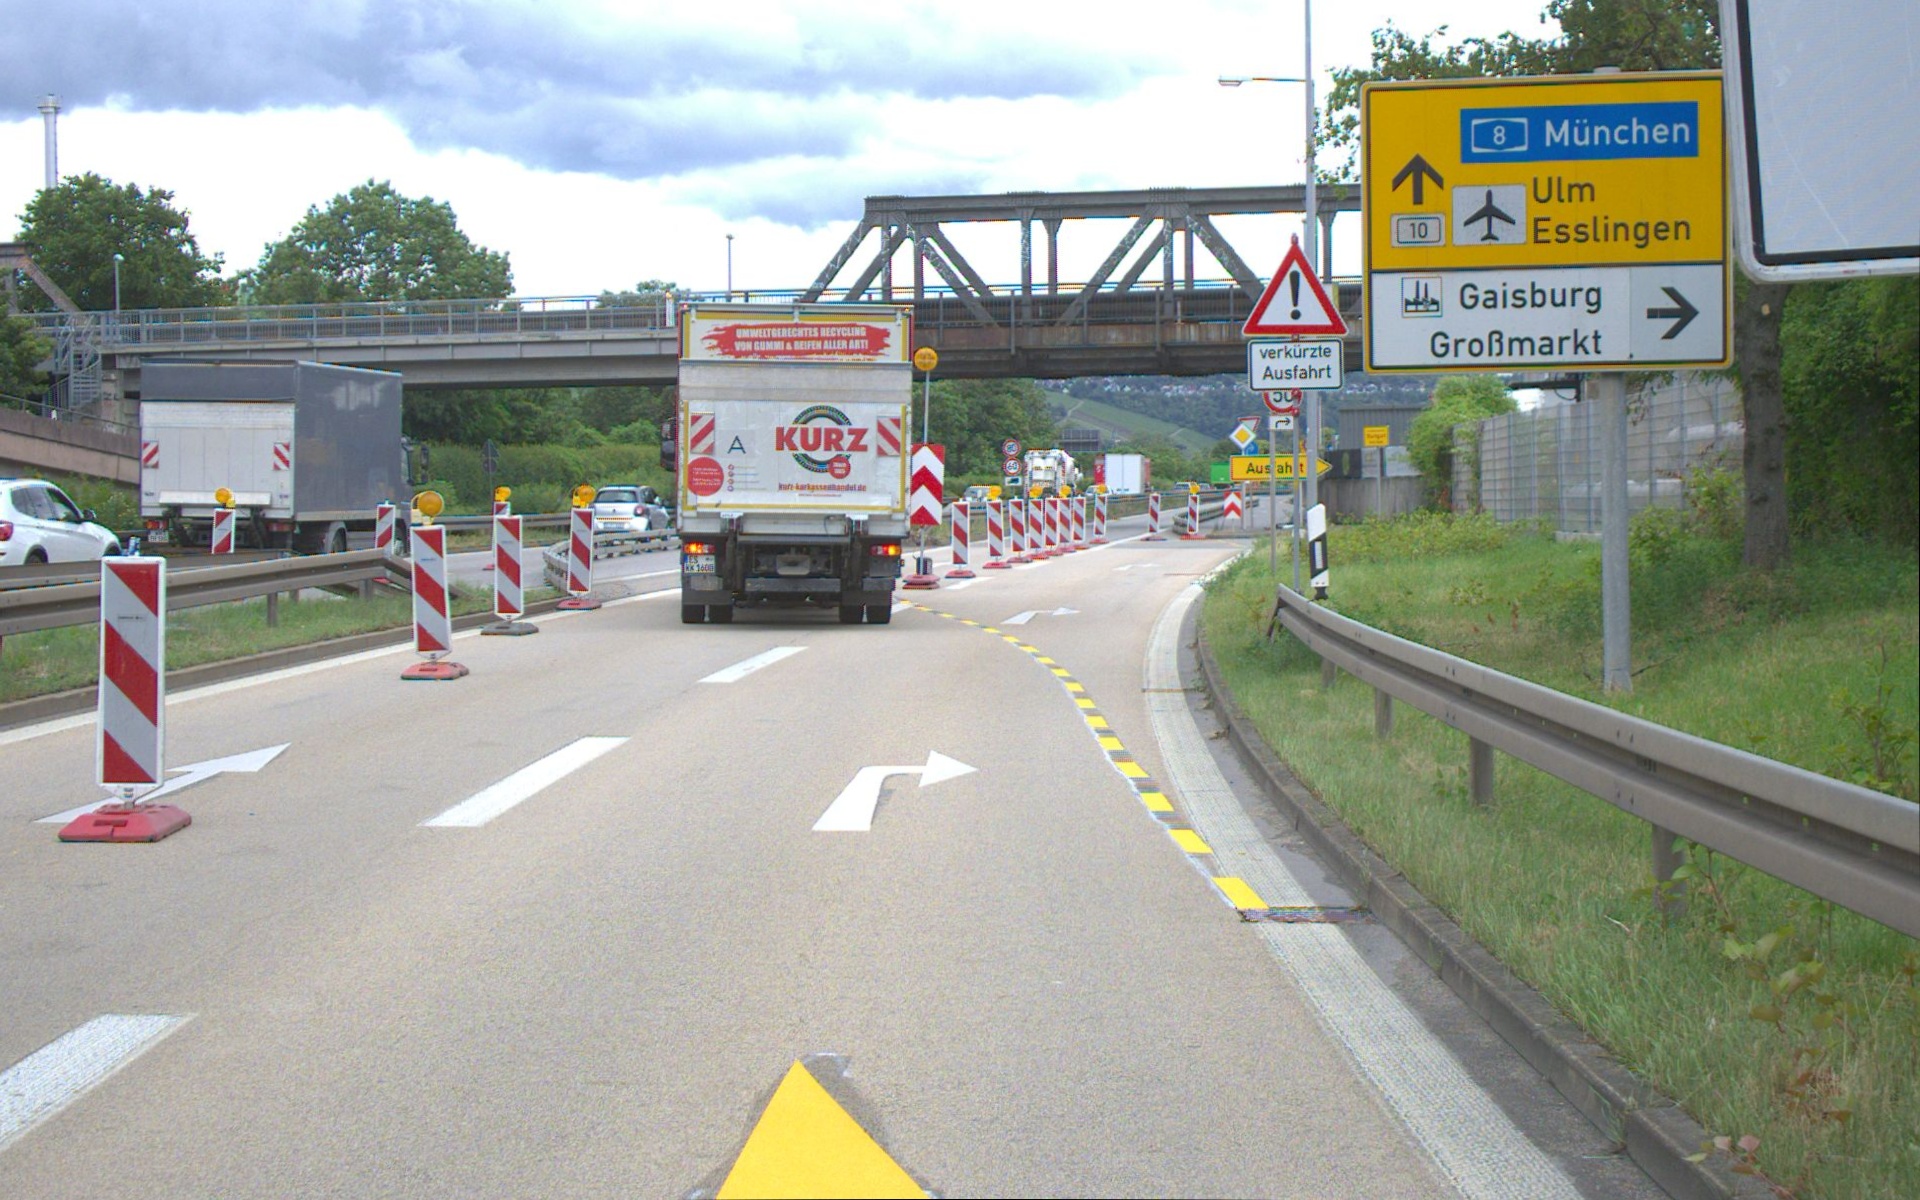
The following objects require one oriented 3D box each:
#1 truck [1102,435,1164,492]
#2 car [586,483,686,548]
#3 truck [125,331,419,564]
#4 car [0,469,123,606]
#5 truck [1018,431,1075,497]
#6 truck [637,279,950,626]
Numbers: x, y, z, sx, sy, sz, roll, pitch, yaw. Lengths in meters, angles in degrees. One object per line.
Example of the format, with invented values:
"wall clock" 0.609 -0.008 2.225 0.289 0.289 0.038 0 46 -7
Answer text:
"truck" 11.422 -9.011 227.777 3.908 3.537 8.140 0 1 1
"car" -8.207 -2.136 87.325 1.994 1.612 4.000 0 1 3
"truck" -11.400 -2.475 57.746 3.051 3.643 7.395 0 1 3
"car" -12.632 -0.819 44.882 1.994 1.707 4.100 0 1 7
"truck" 5.286 -8.269 209.448 3.287 3.839 7.664 0 1 3
"truck" -1.775 -1.642 40.420 3.051 3.660 7.927 0 1 2
